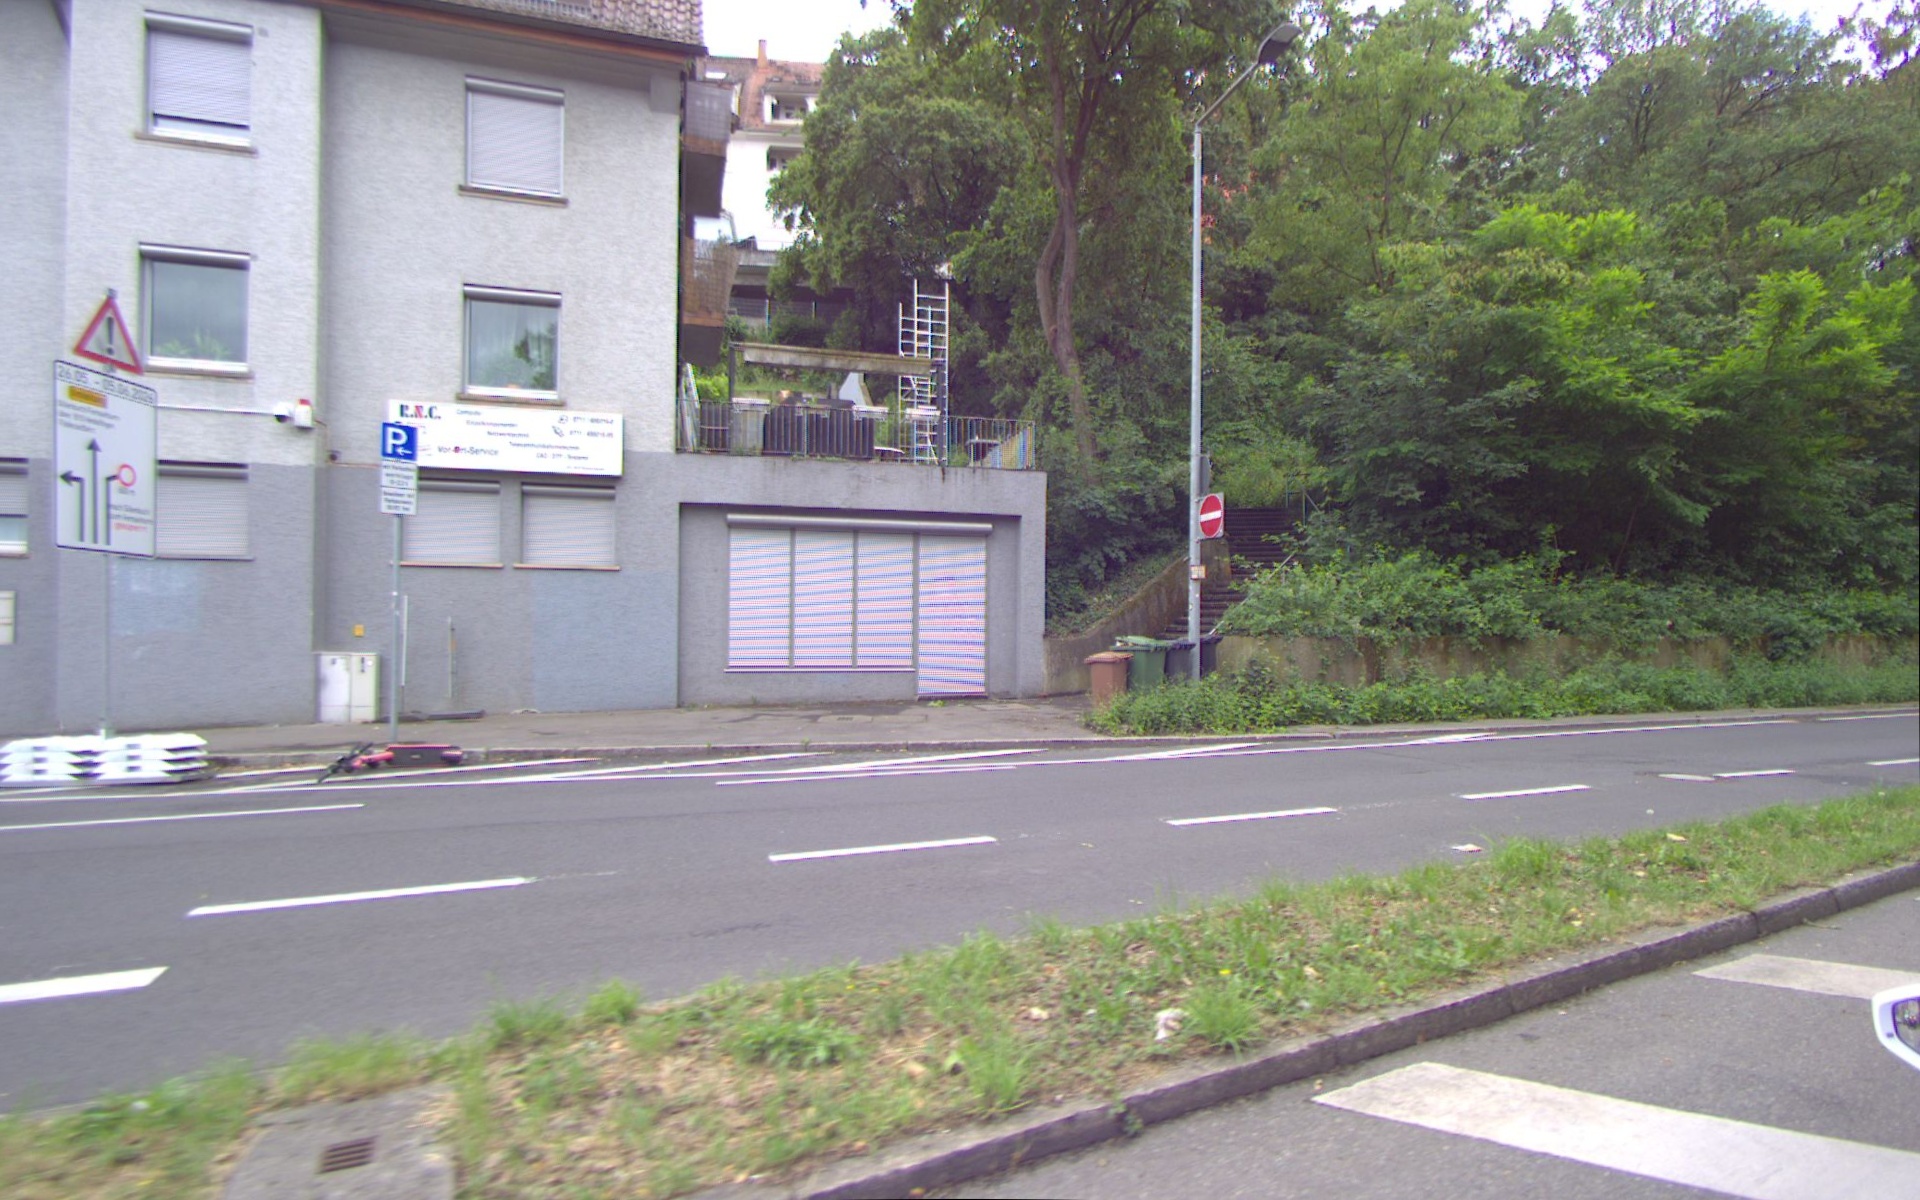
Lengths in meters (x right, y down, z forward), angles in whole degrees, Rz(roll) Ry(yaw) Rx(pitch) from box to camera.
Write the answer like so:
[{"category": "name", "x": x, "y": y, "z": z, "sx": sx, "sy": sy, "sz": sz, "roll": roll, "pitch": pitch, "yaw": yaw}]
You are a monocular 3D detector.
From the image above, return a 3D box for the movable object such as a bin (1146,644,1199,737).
[{"category": "movable object such as a bin", "x": 2.944, "y": 1.242, "z": 13.927, "sx": 0.426, "sy": 1.202, "sz": 0.577, "roll": -1, "pitch": 2, "yaw": -31}]

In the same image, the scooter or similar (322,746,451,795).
[{"category": "scooter or similar", "x": -5.830, "y": 1.716, "z": 10.216, "sx": 1.087, "sy": 0.292, "sz": 1.118, "roll": 0, "pitch": -3, "yaw": -32}]

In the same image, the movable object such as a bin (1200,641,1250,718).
[{"category": "movable object such as a bin", "x": 3.855, "y": 1.146, "z": 14.641, "sx": 0.426, "sy": 1.039, "sz": 0.552, "roll": -1, "pitch": 2, "yaw": -31}]

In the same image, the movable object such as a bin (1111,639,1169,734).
[{"category": "movable object such as a bin", "x": 2.446, "y": 1.159, "z": 13.664, "sx": 0.486, "sy": 1.202, "sz": 0.601, "roll": -1, "pitch": 2, "yaw": -31}]

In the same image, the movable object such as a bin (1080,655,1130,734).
[{"category": "movable object such as a bin", "x": 1.939, "y": 1.250, "z": 13.442, "sx": 0.439, "sy": 0.980, "sz": 0.513, "roll": -1, "pitch": 2, "yaw": -31}]
